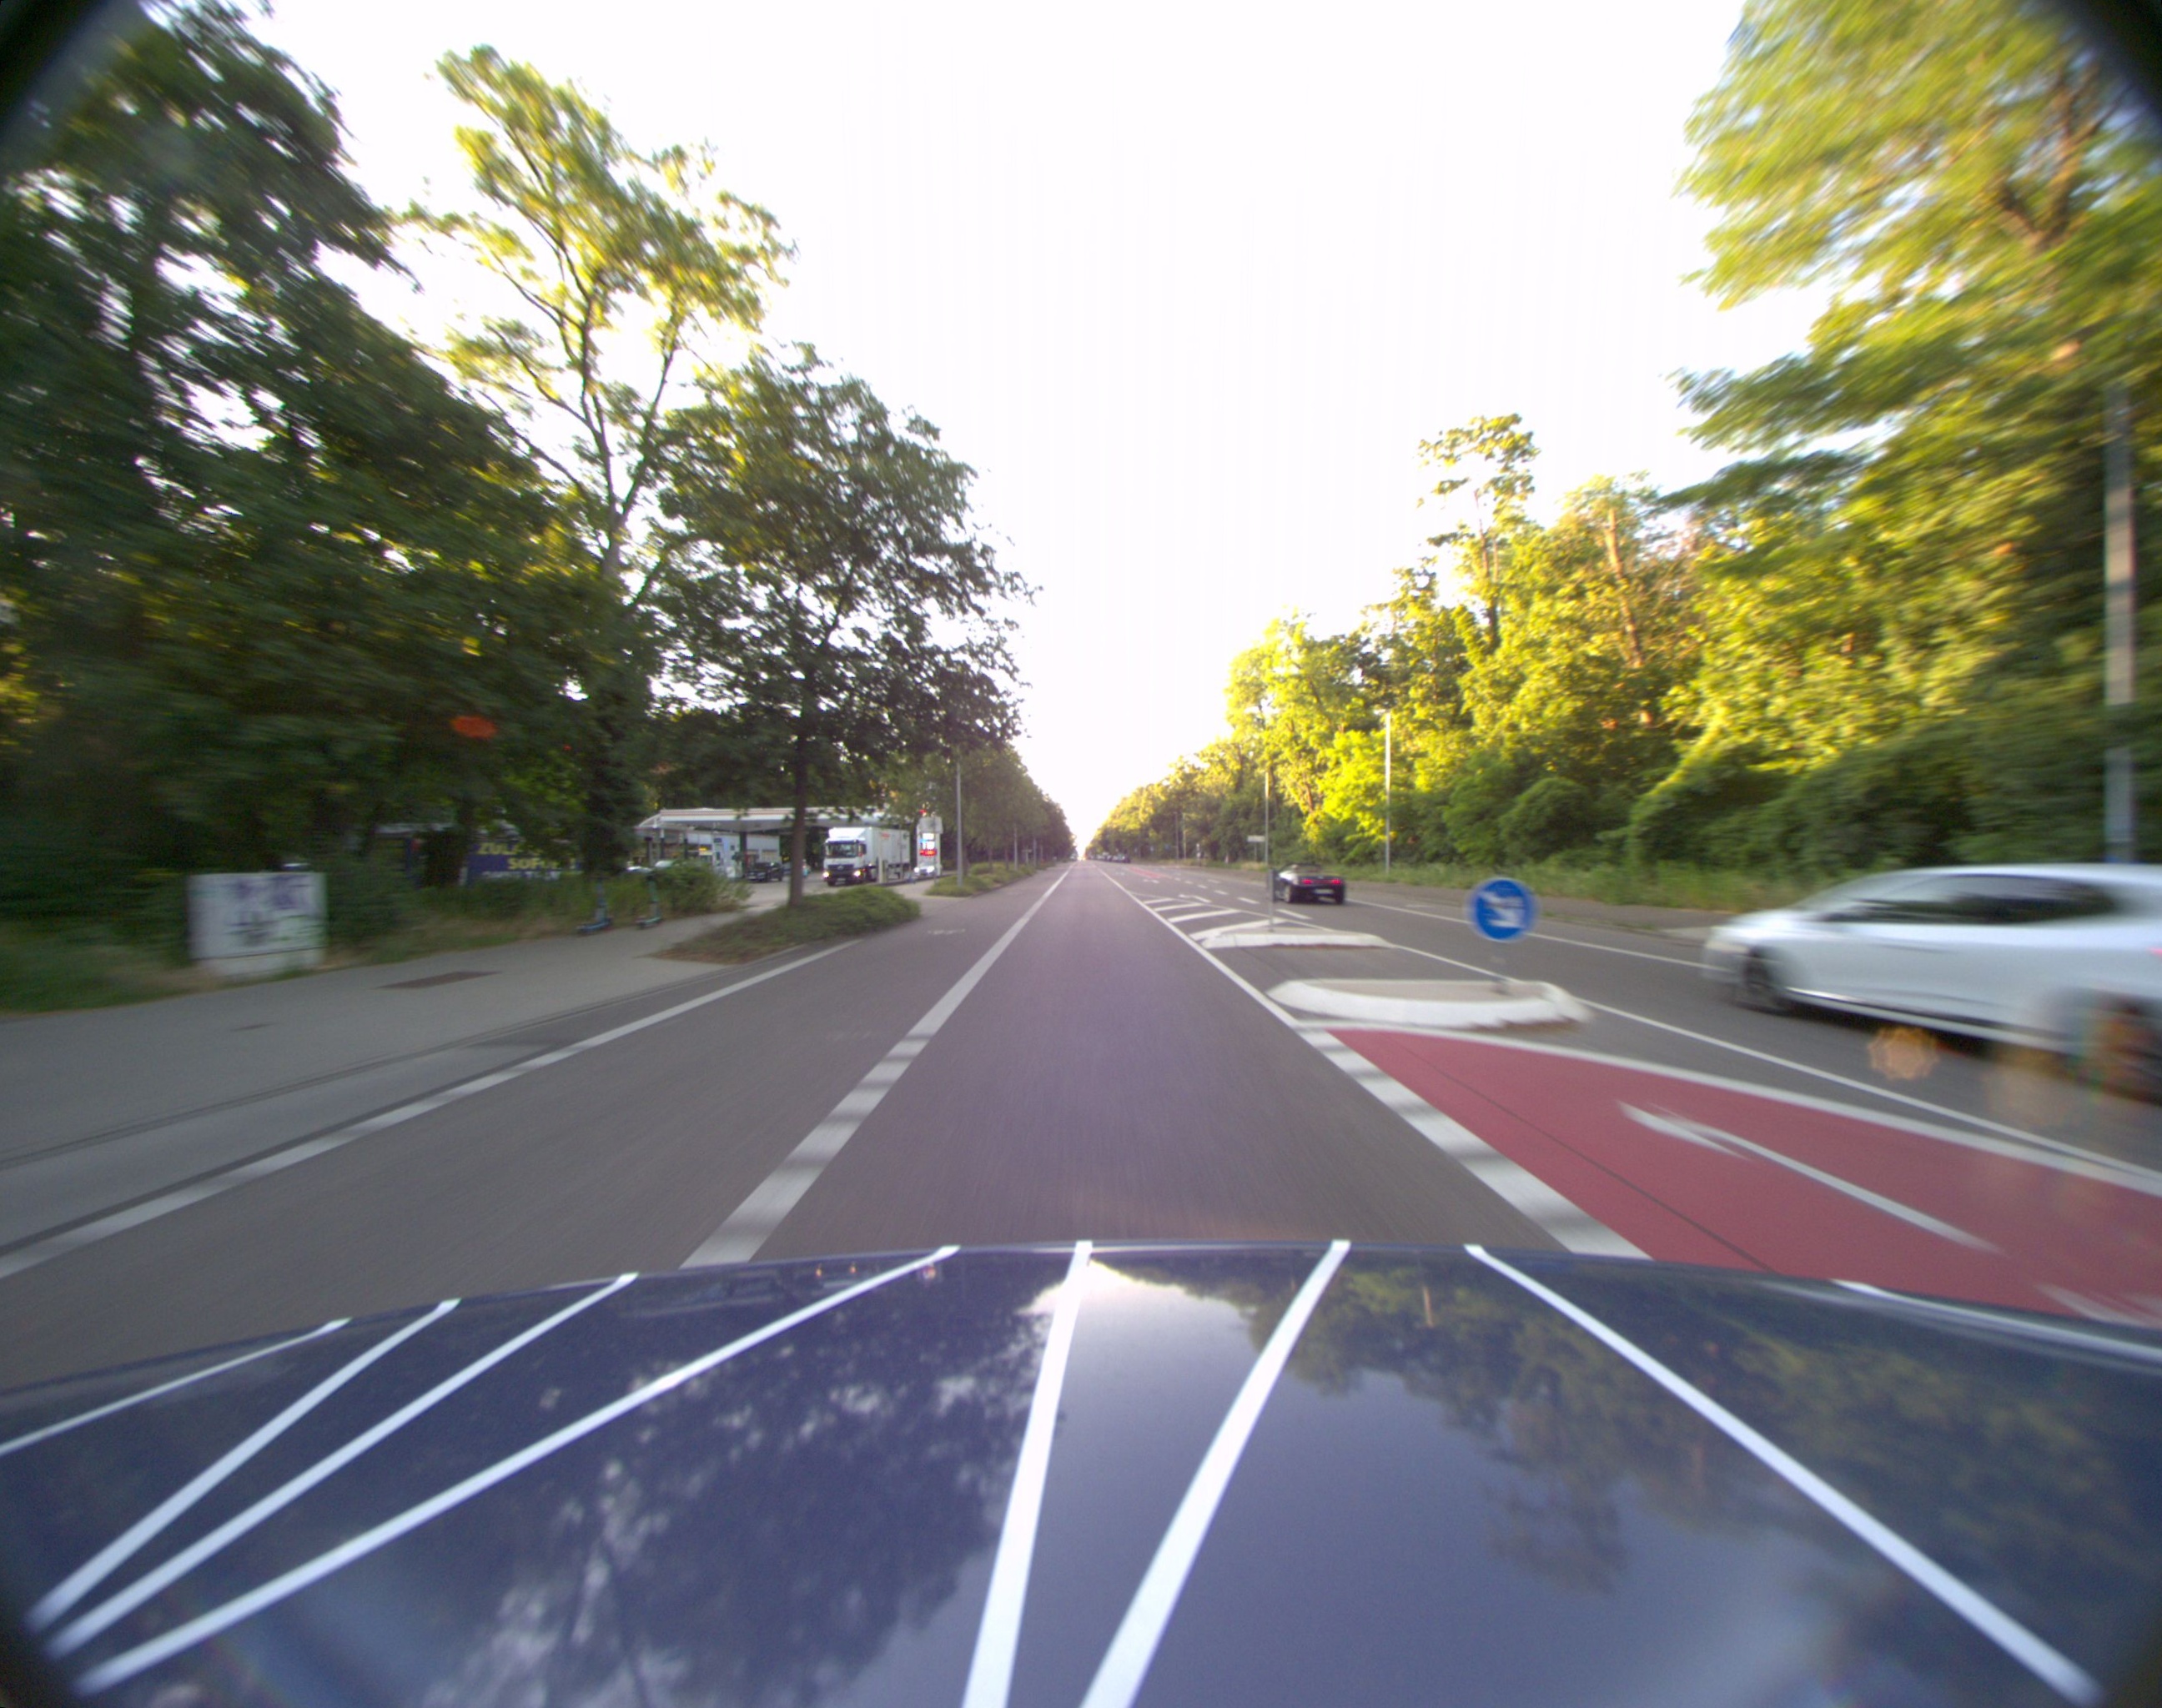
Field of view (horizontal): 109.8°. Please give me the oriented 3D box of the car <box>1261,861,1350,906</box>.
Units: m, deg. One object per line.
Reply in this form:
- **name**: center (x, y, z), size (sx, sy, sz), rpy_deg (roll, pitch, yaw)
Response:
- **car**: center (7.174, 0.901, 24.673), size (1.754, 1.299, 4.000), rpy_deg (0, 0, 1)

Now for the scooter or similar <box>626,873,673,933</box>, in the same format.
- **scooter or similar**: center (-9.777, 1.095, 17.241), size (0.483, 1.274, 1.139), rpy_deg (0, 0, -5)

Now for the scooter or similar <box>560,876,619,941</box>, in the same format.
- **scooter or similar**: center (-10.174, 1.104, 15.765), size (0.483, 1.274, 1.231), rpy_deg (0, 0, -5)

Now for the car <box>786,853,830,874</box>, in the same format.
- **car**: center (-28.088, 0.961, 78.351), size (4.001, 2.002, 1.831), rpy_deg (-1, 0, -11)

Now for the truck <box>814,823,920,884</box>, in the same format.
- **truck**: center (-15.009, -0.063, 55.202), size (3.226, 3.707, 15.883), rpy_deg (-2, 0, -1)

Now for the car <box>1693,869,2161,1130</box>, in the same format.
- **car**: center (7.148, 0.866, 5.689), size (1.851, 1.406, 4.180), rpy_deg (0, 0, 2)

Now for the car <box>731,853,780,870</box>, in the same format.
- **car**: center (-30.160, 0.730, 70.355), size (4.006, 1.514, 1.996), rpy_deg (1, -1, -28)

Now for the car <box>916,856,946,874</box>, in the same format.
- **car**: center (-14.437, 1.016, 73.272), size (1.999, 1.581, 4.709), rpy_deg (-2, 0, -2)

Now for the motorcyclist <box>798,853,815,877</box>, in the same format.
- **motorcyclist**: center (-24.450, 0.970, 67.741), size (1.009, 2.002, 1.075), rpy_deg (-2, 1, 1)

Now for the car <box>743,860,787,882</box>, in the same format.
- **car**: center (-23.297, 1.231, 56.185), size (1.673, 1.499, 3.999), rpy_deg (-2, 0, -2)

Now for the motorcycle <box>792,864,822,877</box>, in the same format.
- **motorcycle**: center (-24.411, 1.493, 67.808), size (1.137, 1.018, 4.000), rpy_deg (-2, 0, 1)

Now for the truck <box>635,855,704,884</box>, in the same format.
- **truck**: center (-29.664, 1.053, 54.953), size (1.998, 1.930, 5.204), rpy_deg (-2, 0, 1)
